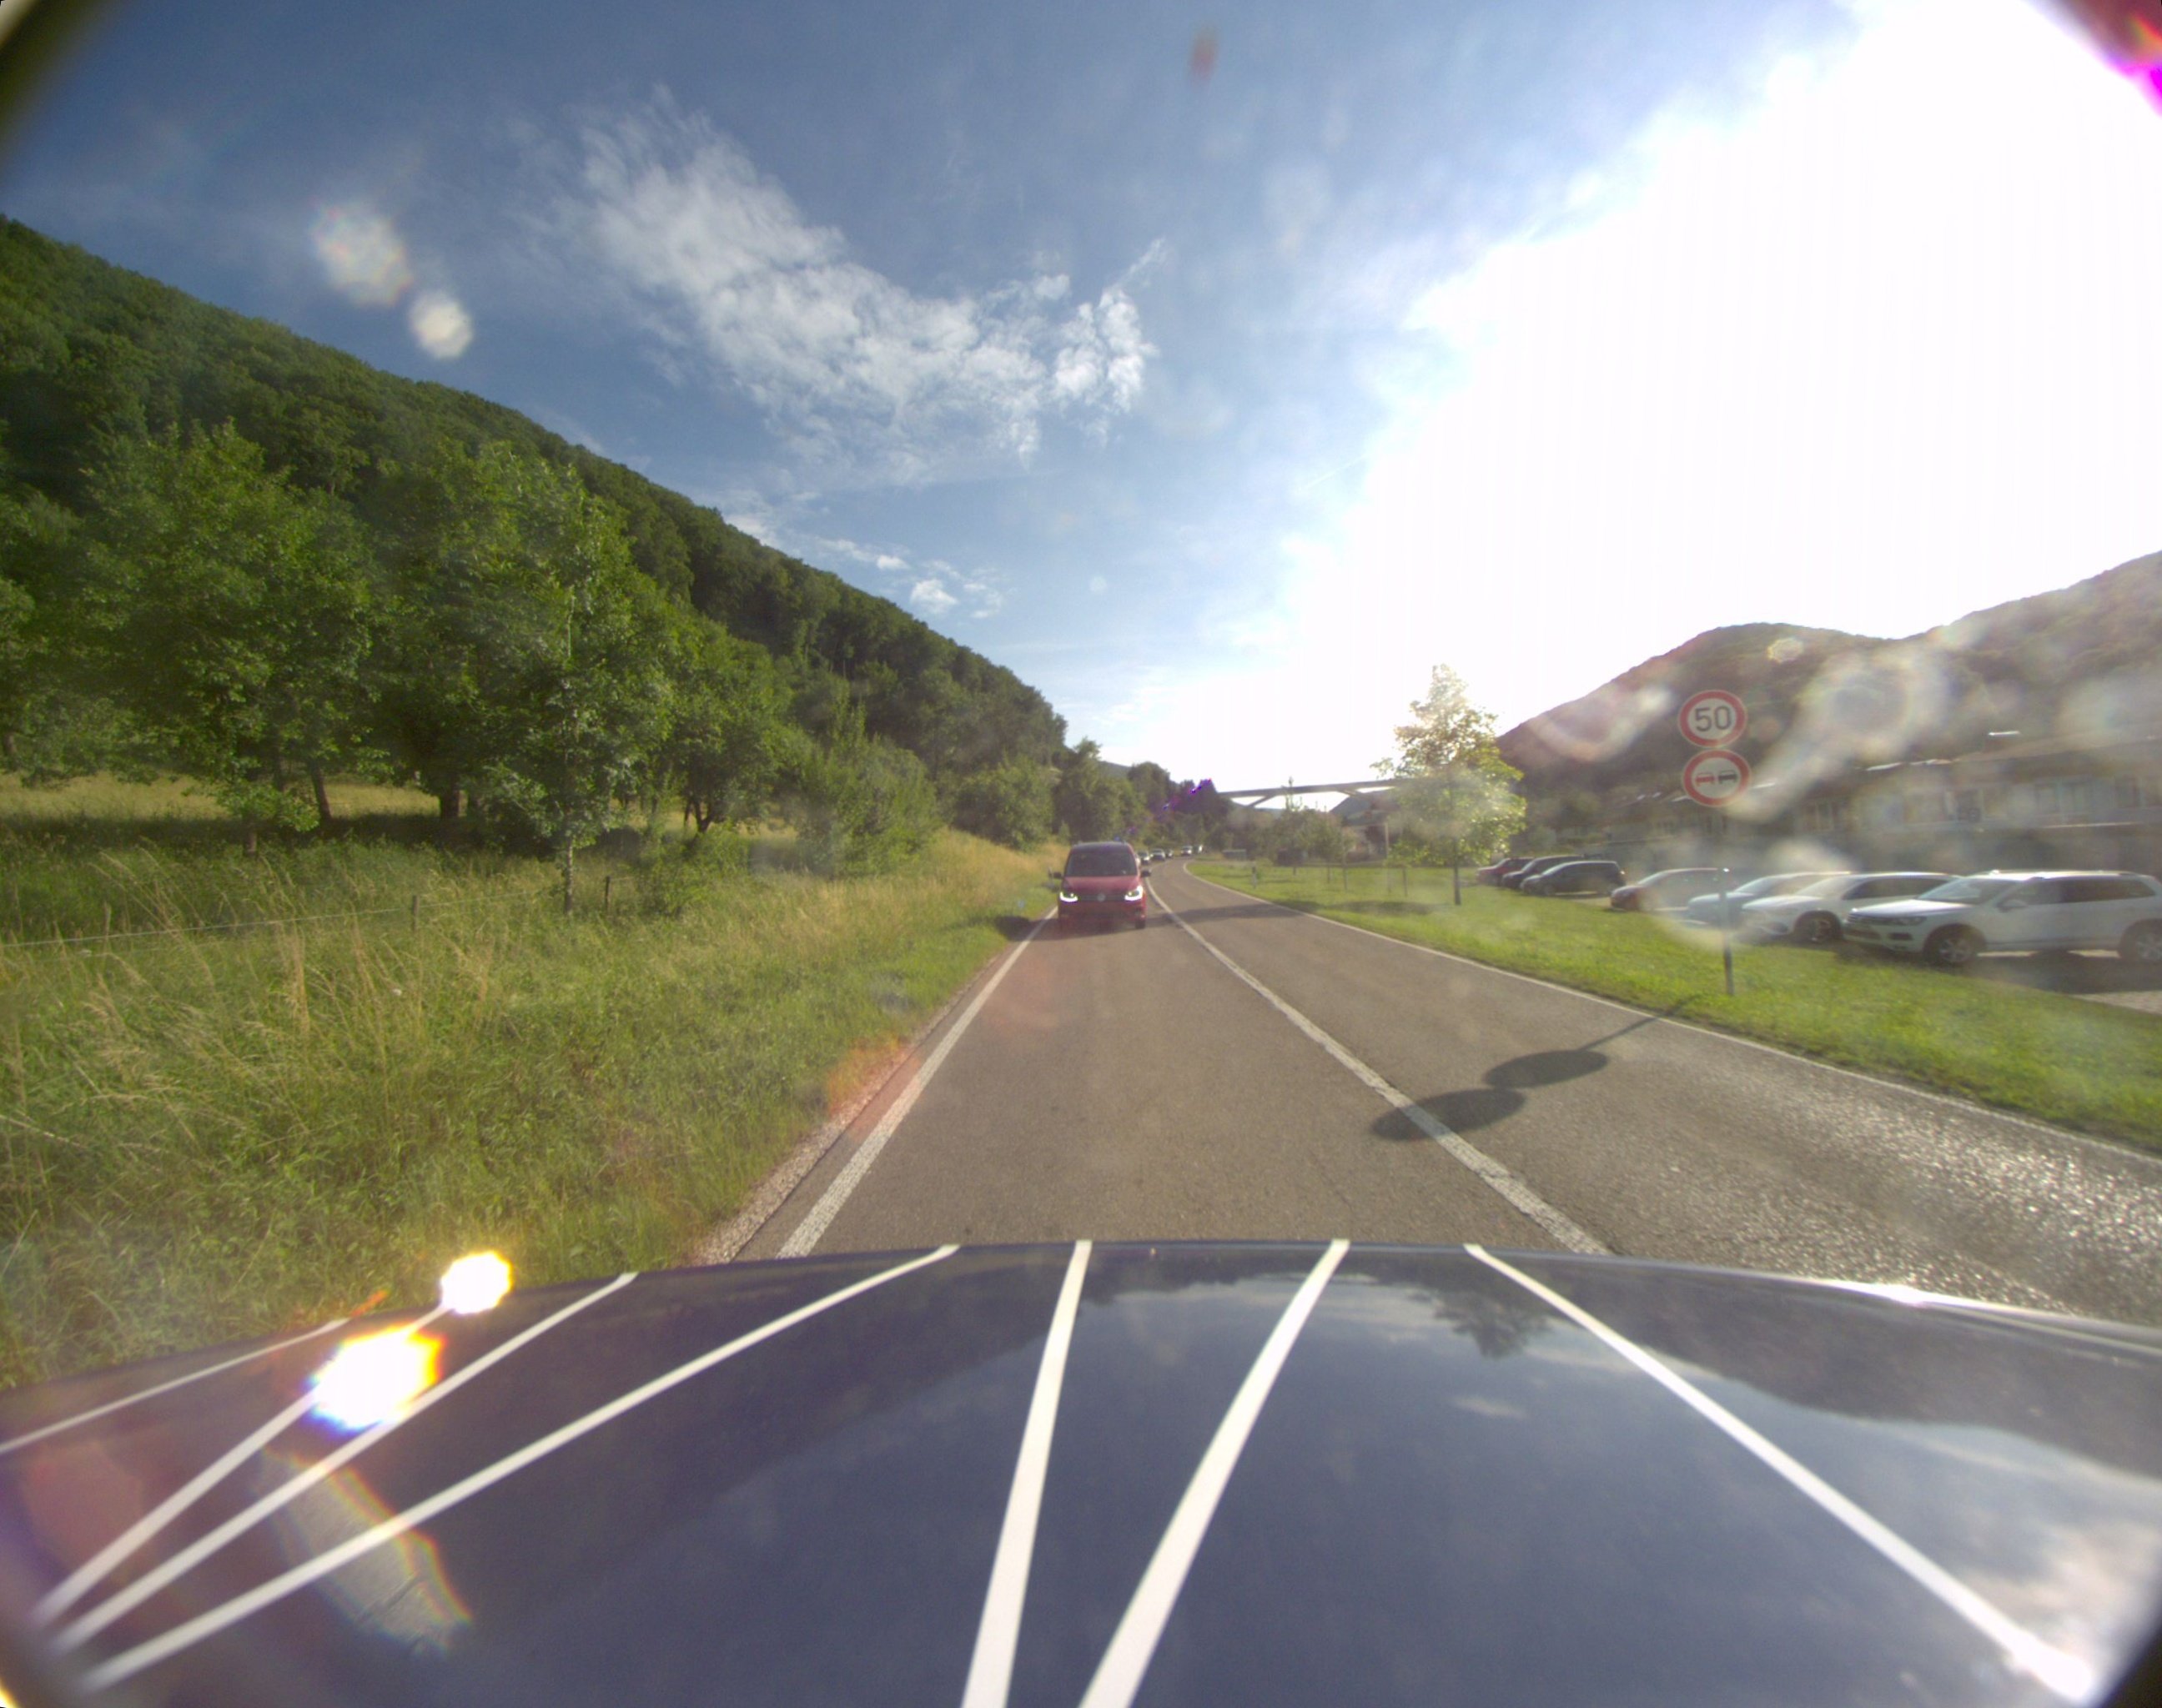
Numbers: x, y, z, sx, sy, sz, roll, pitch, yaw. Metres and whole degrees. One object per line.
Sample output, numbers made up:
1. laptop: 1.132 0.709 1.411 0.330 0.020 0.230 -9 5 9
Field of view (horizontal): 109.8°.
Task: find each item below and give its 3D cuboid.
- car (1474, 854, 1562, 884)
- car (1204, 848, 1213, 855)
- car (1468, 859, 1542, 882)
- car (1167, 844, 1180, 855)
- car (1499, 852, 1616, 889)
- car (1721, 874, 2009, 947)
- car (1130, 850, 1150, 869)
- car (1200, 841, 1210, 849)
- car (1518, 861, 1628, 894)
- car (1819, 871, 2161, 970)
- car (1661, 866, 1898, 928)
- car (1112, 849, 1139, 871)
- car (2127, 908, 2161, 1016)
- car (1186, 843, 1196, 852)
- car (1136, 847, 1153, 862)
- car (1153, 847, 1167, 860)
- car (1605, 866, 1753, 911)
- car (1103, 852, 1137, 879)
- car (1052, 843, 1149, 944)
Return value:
1. car: 26.474 0.922 46.187 4.326 1.659 1.850 -2 1 18
2. car: 26.302 -0.516 156.770 1.628 1.470 3.682 -2 1 13
3. car: 27.604 1.062 49.612 3.891 1.361 1.854 -1 2 15
4. car: 14.166 -0.687 116.473 1.628 1.470 3.682 -2 1 13
5. car: 25.442 0.882 40.749 4.999 1.783 1.686 -2 1 12
6. car: 18.944 1.362 18.635 4.545 1.546 2.002 -2 1 14
7. car: 5.190 0.464 66.892 1.629 1.470 3.680 -2 1 6
8. car: 24.383 -1.793 149.168 1.628 1.470 3.682 -2 1 13
9. car: 23.400 1.117 36.278 4.014 1.443 1.686 -2 -1 12
10. car: 18.204 1.300 15.196 4.545 1.693 2.002 -2 1 14
11. car: 19.633 1.206 21.611 4.545 1.546 2.002 -2 1 14
12. car: 3.414 0.448 57.649 1.629 1.470 3.681 -2 1 10
13. car: 16.712 1.478 9.863 3.499 1.464 1.634 -2 1 12
14. car: 19.747 -1.127 136.475 1.629 1.470 3.681 -2 1 9
15. car: 6.794 0.083 81.330 1.629 1.470 3.680 -2 1 6
16. car: 10.034 -0.061 96.140 1.629 1.470 3.680 -2 1 6
17. car: 20.887 1.200 26.677 3.726 1.390 1.617 -2 1 14
18. car: 2.441 0.698 46.961 1.629 1.470 3.681 -2 1 10
19. car: 0.527 0.697 15.821 1.648 1.762 4.001 -2 1 6
